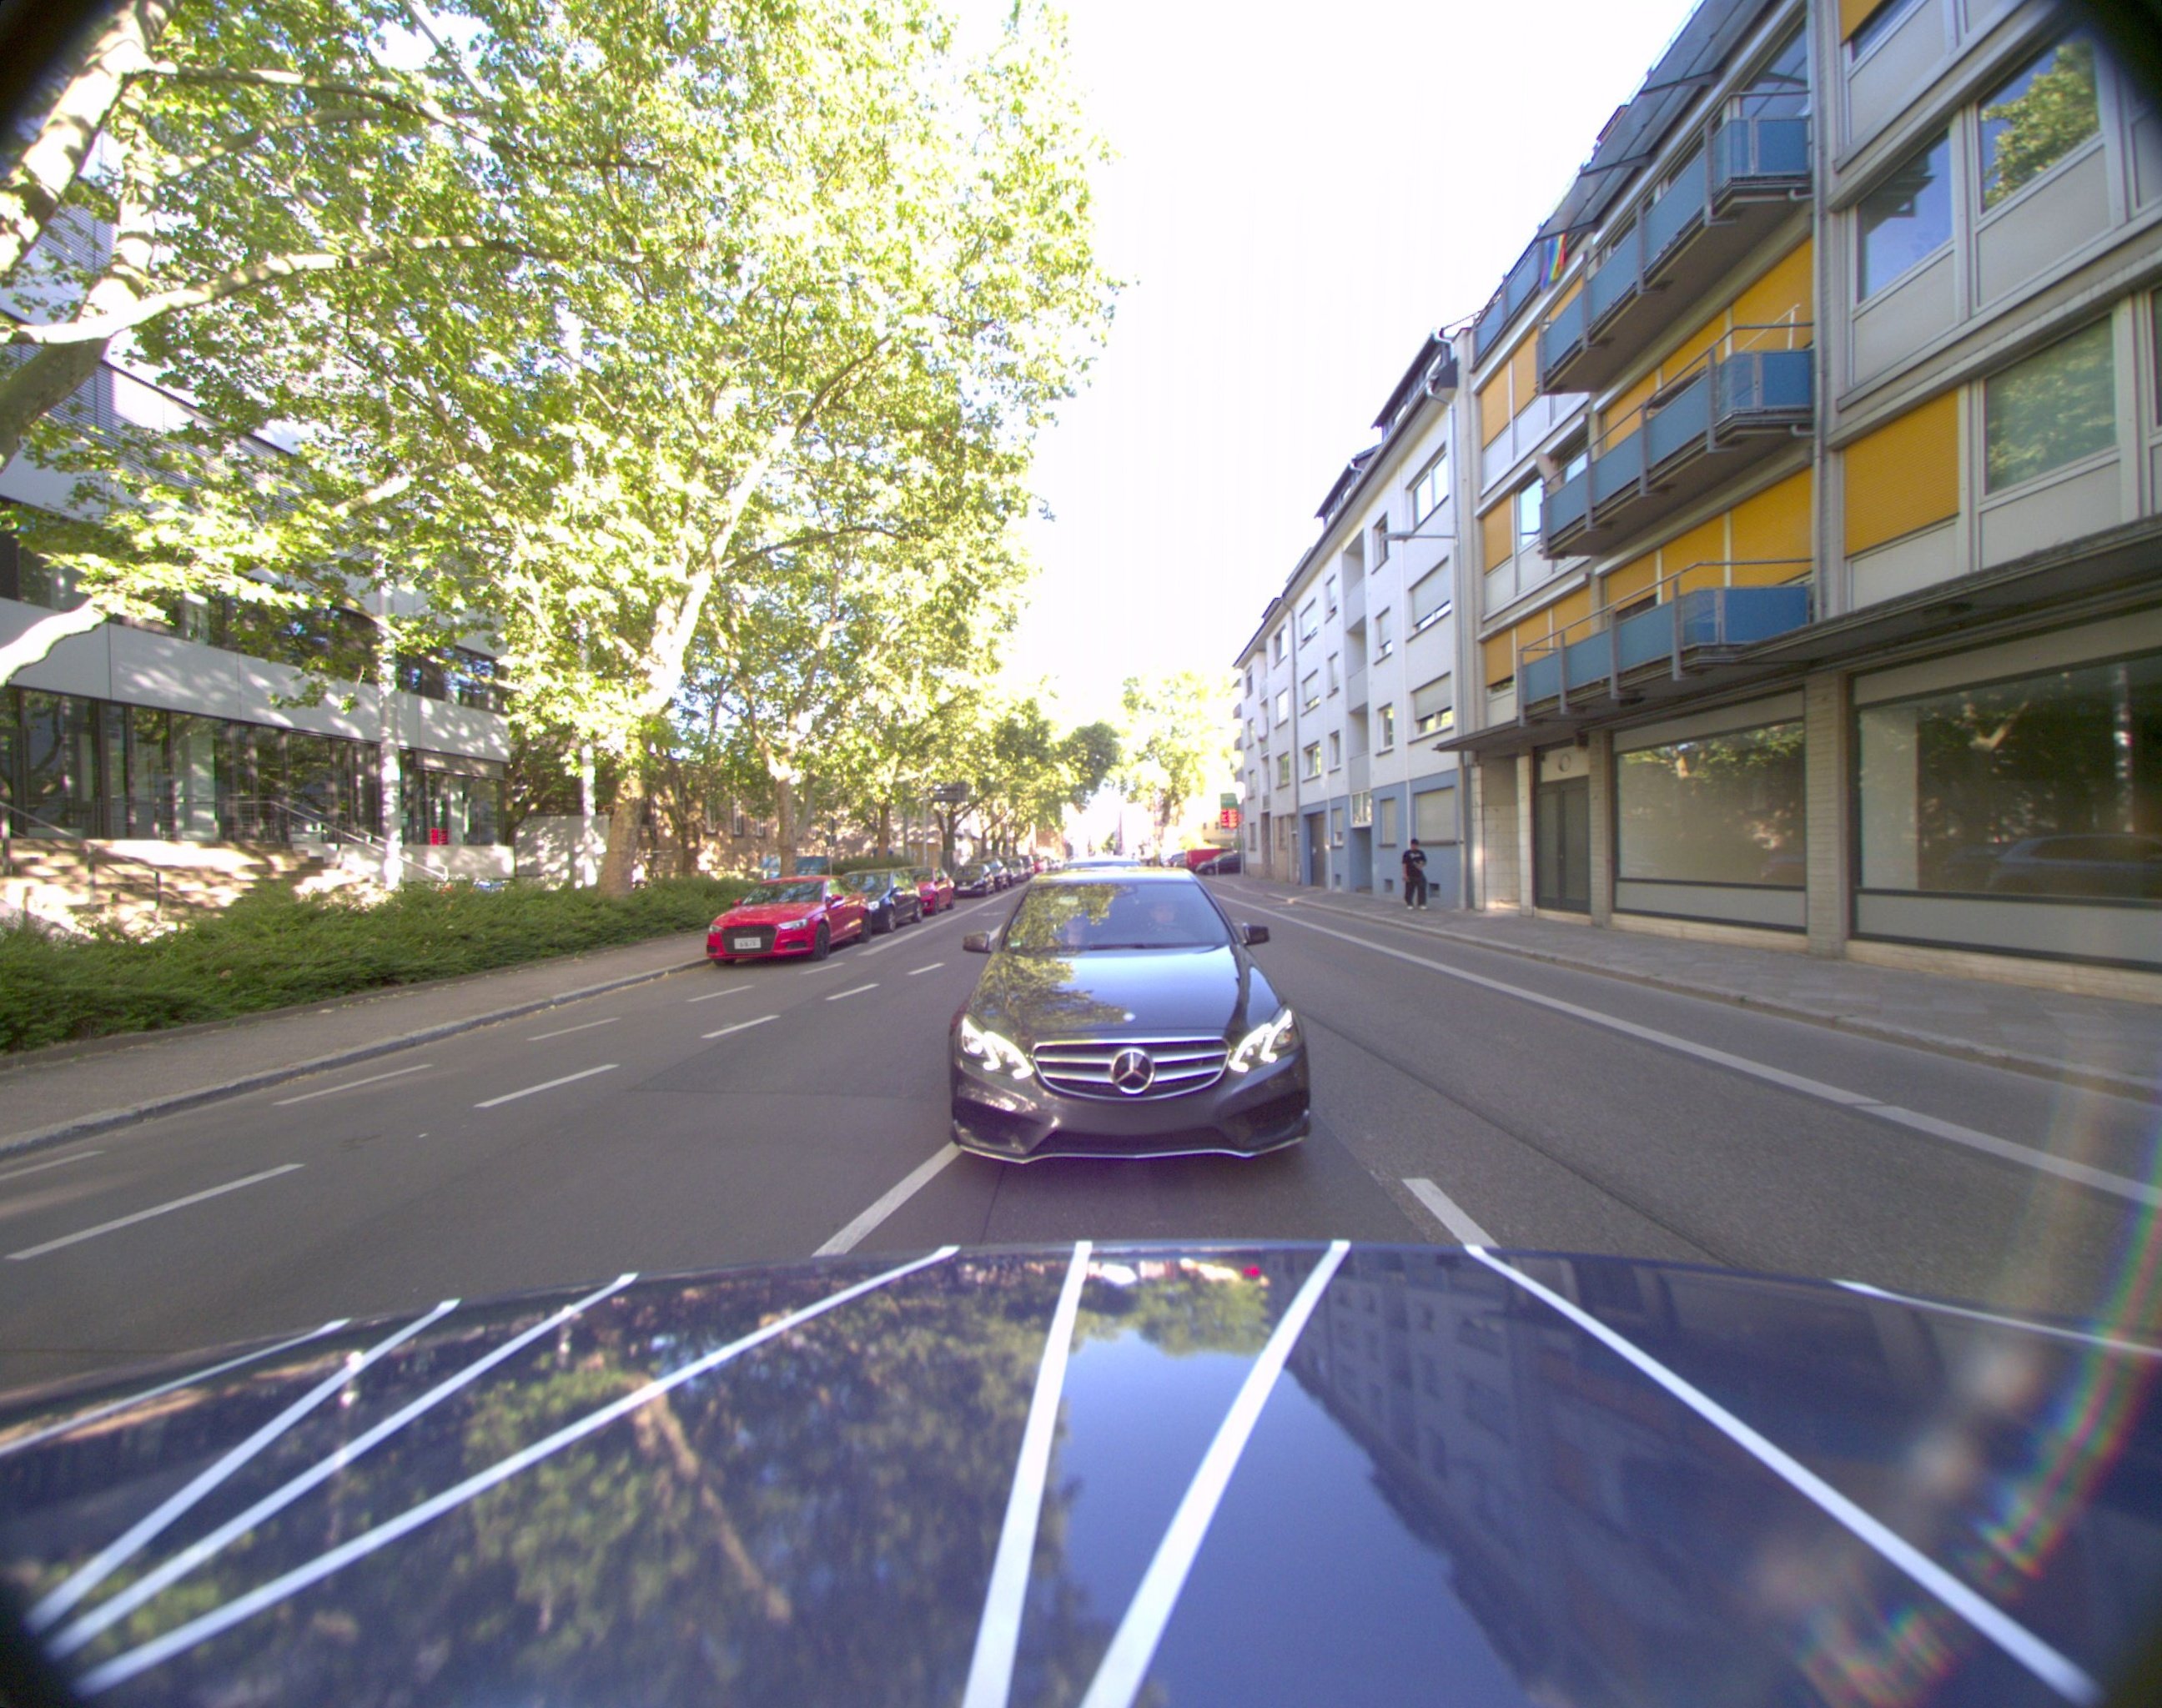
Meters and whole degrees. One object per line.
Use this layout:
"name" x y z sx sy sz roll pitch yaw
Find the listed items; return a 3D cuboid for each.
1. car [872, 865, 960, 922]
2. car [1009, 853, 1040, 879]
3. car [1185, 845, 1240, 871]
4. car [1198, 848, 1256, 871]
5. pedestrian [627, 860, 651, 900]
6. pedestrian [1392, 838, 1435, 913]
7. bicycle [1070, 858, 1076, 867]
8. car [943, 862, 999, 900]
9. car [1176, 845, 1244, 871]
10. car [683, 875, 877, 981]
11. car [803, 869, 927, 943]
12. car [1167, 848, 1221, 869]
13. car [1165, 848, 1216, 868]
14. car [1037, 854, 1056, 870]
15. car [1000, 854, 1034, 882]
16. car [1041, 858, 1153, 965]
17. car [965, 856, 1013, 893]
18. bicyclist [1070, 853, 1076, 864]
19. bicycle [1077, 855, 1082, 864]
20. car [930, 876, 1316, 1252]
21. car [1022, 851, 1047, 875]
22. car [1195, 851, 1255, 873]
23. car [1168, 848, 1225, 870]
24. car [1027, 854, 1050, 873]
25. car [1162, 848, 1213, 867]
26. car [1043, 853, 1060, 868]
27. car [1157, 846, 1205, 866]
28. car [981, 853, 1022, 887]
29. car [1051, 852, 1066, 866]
"car" -5.032 1.150 23.647 1.755 1.459 3.909 -3 0 1
"car" -4.097 0.827 55.747 1.755 1.753 4.447 -3 0 1
"car" 10.336 0.303 60.071 3.997 1.926 1.867 -2 0 1
"car" 10.917 0.393 56.982 3.997 1.552 1.743 -2 0 1
"pedestrian" -18.554 1.079 31.925 0.525 1.660 0.661 -2 1 2
"pedestrian" 8.060 0.514 18.443 0.663 1.761 0.793 -2 1 4
"bicycle" -1.044 1.092 97.533 0.650 1.053 1.595 -2 0 1
"car" -4.747 1.122 33.285 1.755 1.424 3.909 -3 0 1
"car" 10.641 0.297 63.096 5.223 1.969 2.257 -2 0 1
"car" -5.123 1.185 13.589 1.755 1.400 4.000 -3 0 1
"car" -5.083 1.176 18.435 1.755 1.424 3.909 -3 0 1
"car" 11.278 0.407 76.212 5.054 1.926 2.161 -2 0 1
"car" 11.293 0.376 78.710 4.991 1.926 2.083 -2 0 1
"car" -3.769 0.877 83.506 1.755 1.652 4.447 -3 0 1
"car" -4.268 0.885 50.936 1.755 1.718 4.447 -3 0 1
"car" 0.272 0.888 13.601 1.667 1.563 4.000 -1 0 1
"car" -4.559 0.980 38.255 1.755 1.644 4.174 -3 0 1
"bicyclist" -1.054 0.549 97.597 0.650 1.427 0.741 -2 1 1
"bicycle" -0.210 0.686 97.457 0.574 1.053 1.595 -2 0 1
"car" 0.213 0.985 5.348 1.667 1.499 4.000 -1 0 1
"car" -3.991 0.734 66.381 1.755 1.941 4.447 -3 0 1
"car" 10.361 0.564 54.772 3.997 1.412 1.743 -2 0 1
"car" 11.105 0.446 73.512 5.143 1.926 2.187 -2 0 1
"car" -3.997 0.909 72.167 1.755 1.652 4.447 -3 0 1
"car" 11.329 0.351 81.175 5.042 1.926 2.315 -2 0 1
"car" -3.640 0.780 92.996 1.755 1.652 4.447 -3 0 1
"car" 11.196 0.205 85.512 5.143 2.135 2.187 -2 0 1
"car" -4.549 0.875 44.054 1.755 1.810 4.447 -3 0 1
"car" -3.007 0.657 103.195 1.755 1.652 4.447 -3 0 1
